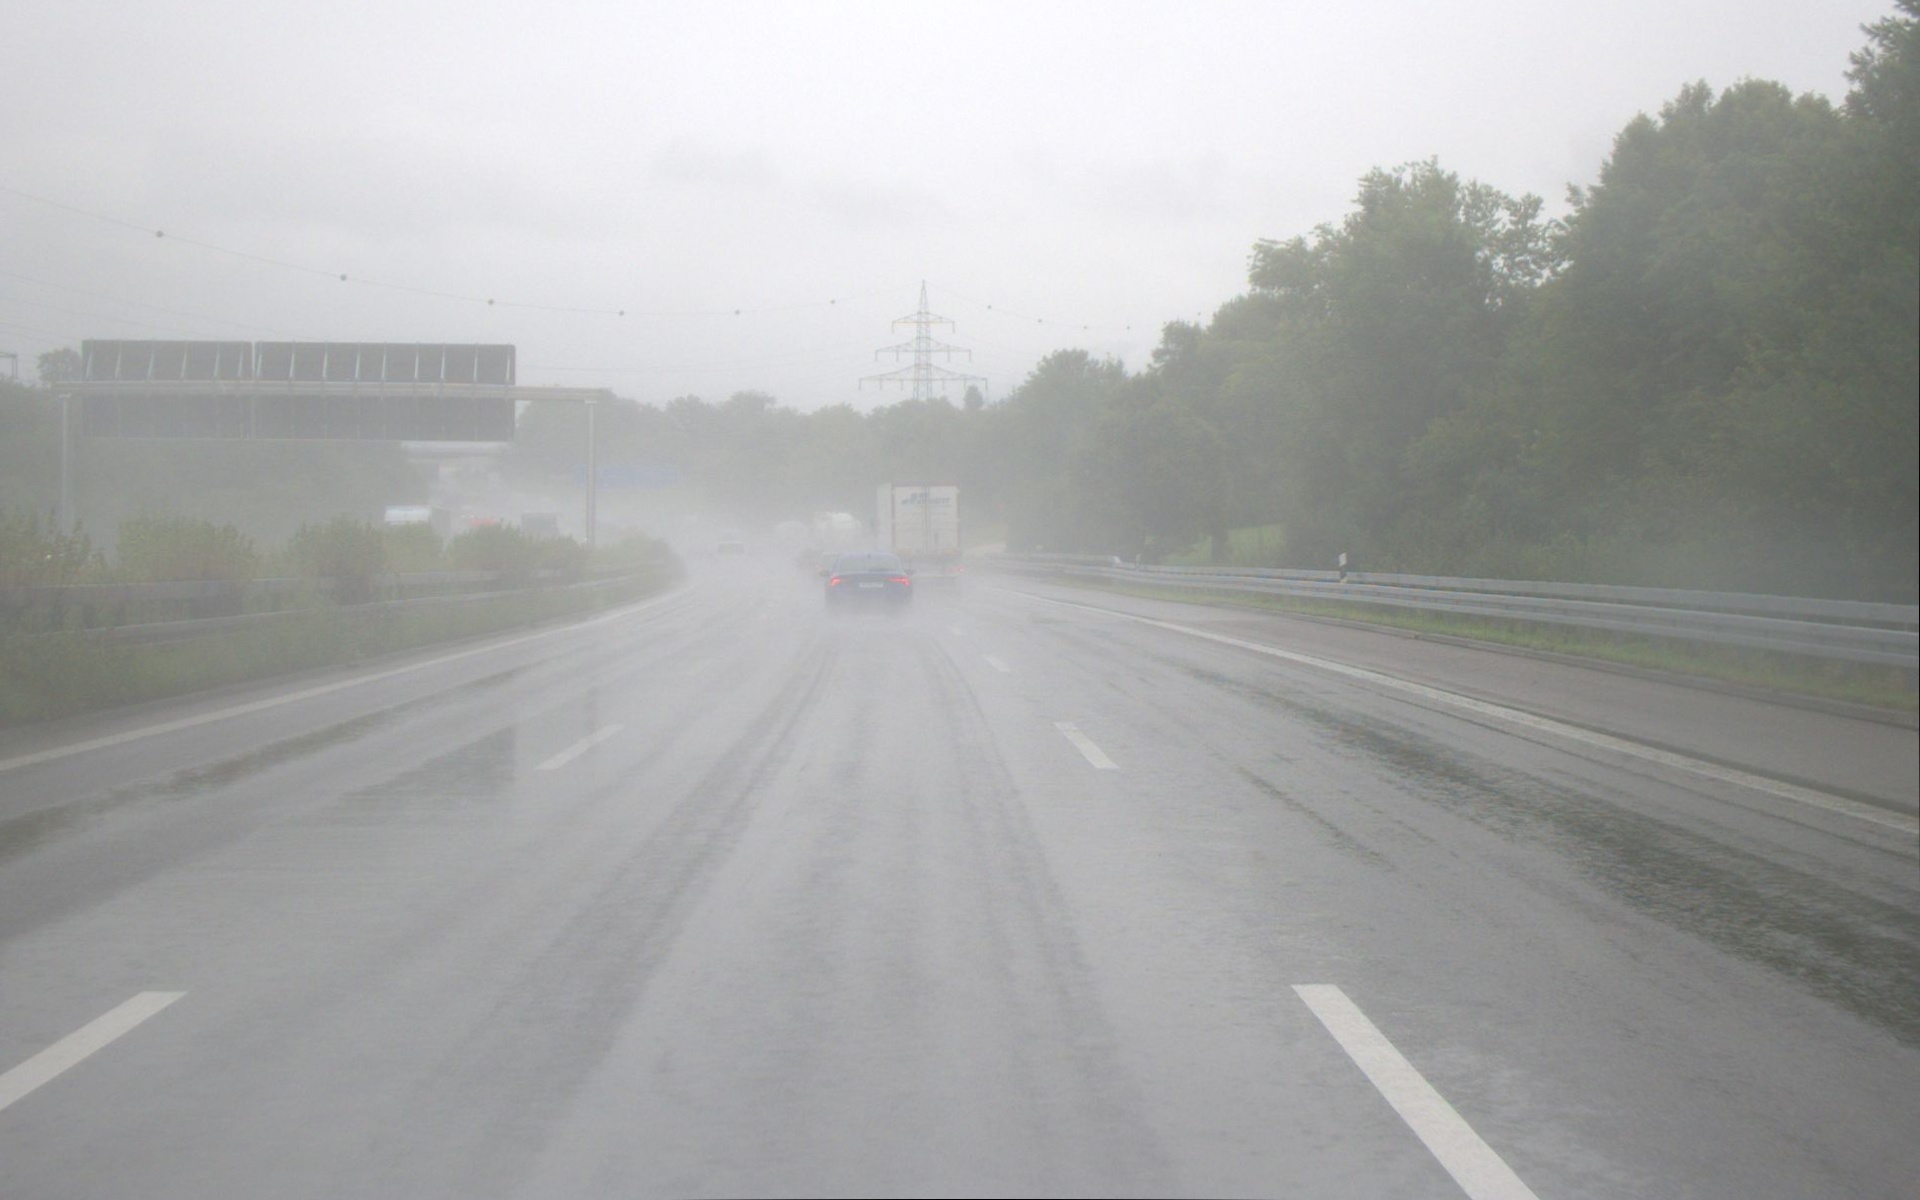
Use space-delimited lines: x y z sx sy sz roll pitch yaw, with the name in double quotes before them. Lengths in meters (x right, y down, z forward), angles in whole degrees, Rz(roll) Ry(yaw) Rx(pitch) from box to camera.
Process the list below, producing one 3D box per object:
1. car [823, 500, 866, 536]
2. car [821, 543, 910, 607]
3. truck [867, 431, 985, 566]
"car" -7.720 -5.470 229.275 2.392 2.264 5.004 1 2 -7
"car" -1.939 -0.545 71.187 1.748 1.208 4.000 2 1 -1
"truck" -1.521 -4.082 137.876 4.256 4.955 17.343 -2 2 -2
